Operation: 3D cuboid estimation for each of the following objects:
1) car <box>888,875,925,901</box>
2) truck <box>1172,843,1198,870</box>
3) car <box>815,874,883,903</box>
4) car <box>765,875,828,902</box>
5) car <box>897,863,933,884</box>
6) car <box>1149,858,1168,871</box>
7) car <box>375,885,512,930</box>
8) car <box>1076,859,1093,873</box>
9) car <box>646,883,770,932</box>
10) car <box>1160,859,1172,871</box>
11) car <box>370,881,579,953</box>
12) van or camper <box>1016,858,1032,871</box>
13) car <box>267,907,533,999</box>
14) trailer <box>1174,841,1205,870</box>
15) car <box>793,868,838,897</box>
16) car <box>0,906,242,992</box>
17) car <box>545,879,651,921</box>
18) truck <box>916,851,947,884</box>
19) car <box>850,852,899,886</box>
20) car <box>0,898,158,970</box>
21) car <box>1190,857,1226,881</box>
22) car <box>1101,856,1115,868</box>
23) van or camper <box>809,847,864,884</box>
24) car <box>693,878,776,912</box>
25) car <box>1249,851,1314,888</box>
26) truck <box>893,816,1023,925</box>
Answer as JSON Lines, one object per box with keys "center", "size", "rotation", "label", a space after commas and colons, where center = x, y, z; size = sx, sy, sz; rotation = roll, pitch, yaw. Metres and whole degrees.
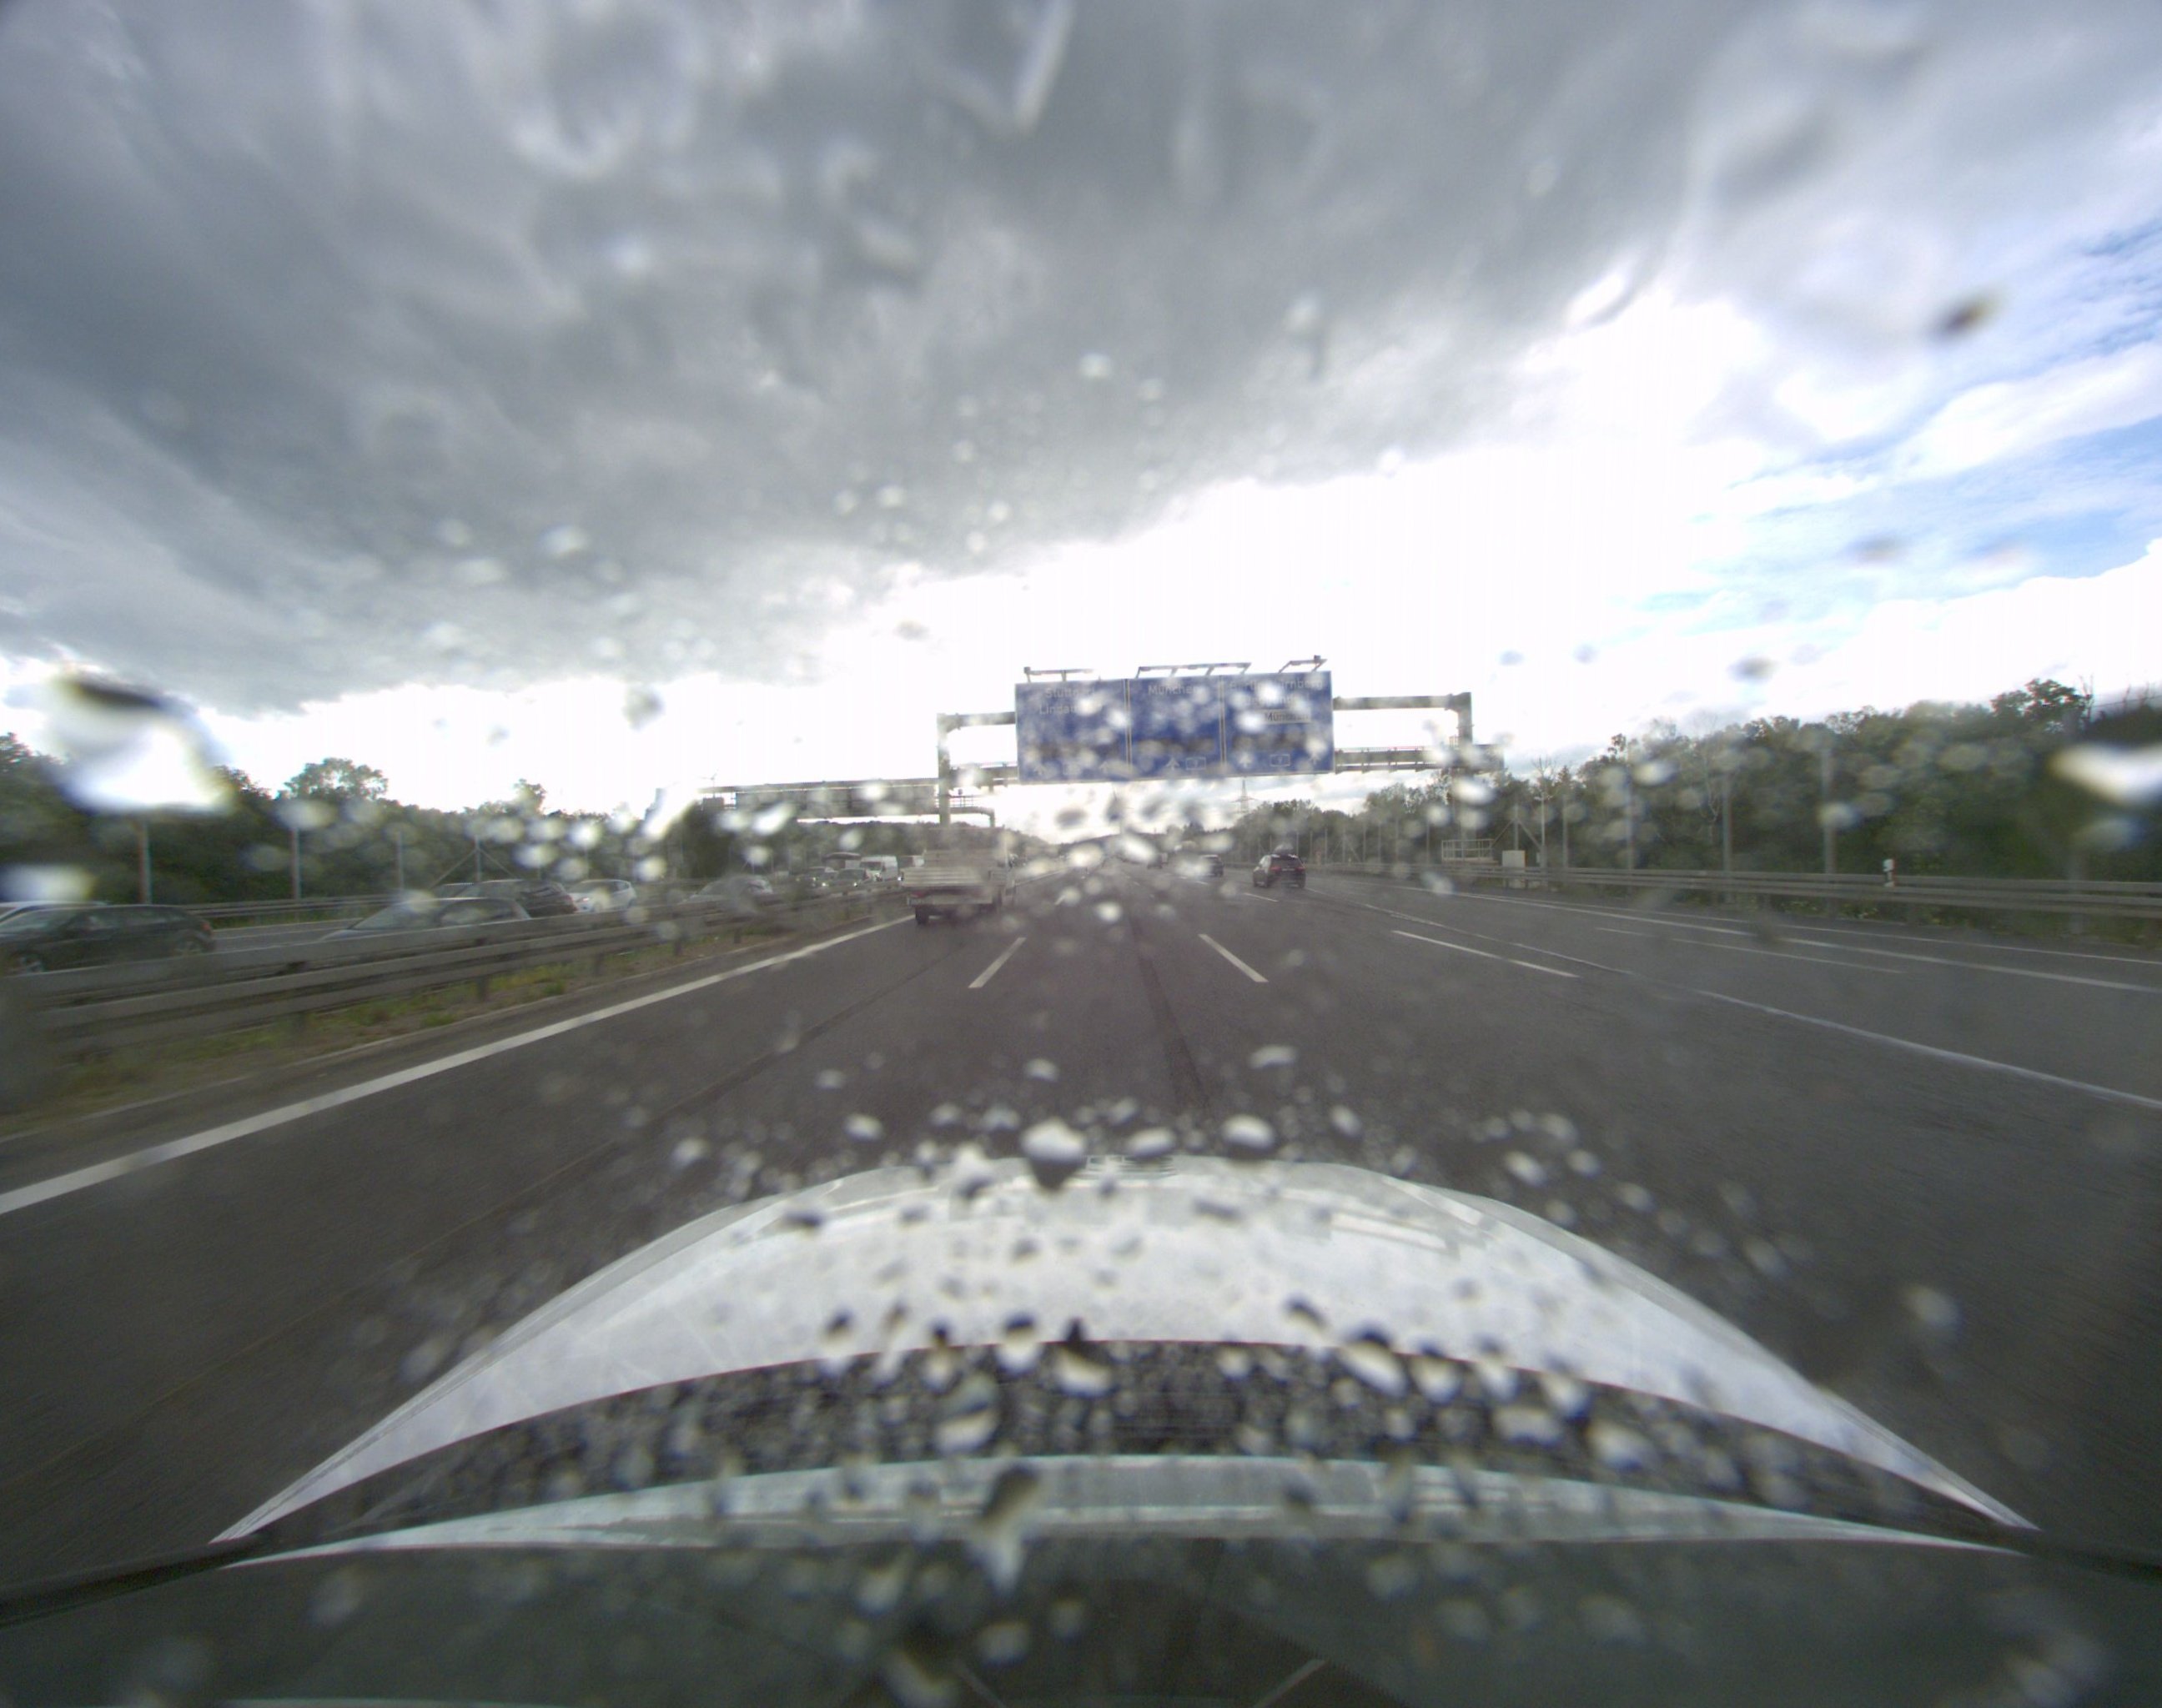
{"center": [-18.830, 3.651, 88.508], "size": [2.263, 2.546, 7.359], "rotation": [-2, 0, 1], "label": "car"}
{"center": [16.163, 0.470, 126.826], "size": [3.320, 4.080, 8.274], "rotation": [0, -1, 2], "label": "truck"}
{"center": [-12.464, 1.818, 44.106], "size": [2.072, 1.357, 5.257], "rotation": [-2, 0, 1], "label": "car"}
{"center": [-16.685, 1.978, 48.040], "size": [1.792, 1.357, 5.129], "rotation": [-2, 0, 1], "label": "car"}
{"center": [-12.210, 1.428, 60.167], "size": [1.698, 1.391, 4.504], "rotation": [-2, 0, -1], "label": "car"}
{"center": [10.483, 1.466, 110.702], "size": [2.092, 1.699, 3.997], "rotation": [-1, -1, -2], "label": "car"}
{"center": [-24.323, 2.003, 31.292], "size": [1.756, 1.426, 4.342], "rotation": [-2, 0, 1], "label": "car"}
{"center": [0.442, 1.469, 101.003], "size": [2.038, 1.699, 4.001], "rotation": [-1, -1, 1], "label": "car"}
{"center": [-12.583, 1.756, 27.875], "size": [1.883, 1.340, 4.945], "rotation": [-2, 0, 1], "label": "car"}
{"center": [17.417, 2.218, 167.074], "size": [2.038, 2.498, 4.001], "rotation": [-1, -1, 1], "label": "car"}
{"center": [-16.530, 1.643, 22.652], "size": [1.875, 1.598, 5.136], "rotation": [-2, 0, 1], "label": "car"}
{"center": [-9.285, 1.723, 133.192], "size": [2.087, 2.186, 4.973], "rotation": [-1, -1, 2], "label": "van or camper"}
{"center": [-13.212, 1.855, 16.201], "size": [1.697, 1.289, 4.187], "rotation": [-2, 0, 1], "label": "car"}
{"center": [15.982, 0.304, 120.886], "size": [3.320, 4.176, 11.842], "rotation": [0, -1, 2], "label": "trailer"}
{"center": [-19.919, 2.080, 61.264], "size": [1.987, 2.014, 4.000], "rotation": [-2, 0, 1], "label": "car"}
{"center": [-19.874, 1.831, 16.172], "size": [1.577, 1.282, 4.603], "rotation": [-2, 0, 1], "label": "car"}
{"center": [-19.721, 1.834, 33.477], "size": [1.615, 1.447, 4.417], "rotation": [-2, 0, 1], "label": "car"}
{"center": [-22.733, 1.976, 124.536], "size": [3.136, 4.857, 8.026], "rotation": [-1, -1, 0], "label": "truck"}
{"center": [-16.404, 1.169, 65.008], "size": [2.195, 2.488, 6.066], "rotation": [-2, 0, 1], "label": "car"}
{"center": [-24.424, 1.849, 18.814], "size": [1.577, 1.426, 4.003], "rotation": [-2, 0, 1], "label": "car"}
{"center": [9.779, 1.140, 63.133], "size": [2.038, 1.699, 5.007], "rotation": [-1, -1, 1], "label": "car"}
{"center": [4.167, 1.244, 124.694], "size": [2.037, 1.699, 4.002], "rotation": [-1, -1, 2], "label": "car"}
{"center": [-19.871, 0.896, 66.575], "size": [2.575, 2.847, 6.211], "rotation": [-2, 0, -1], "label": "van or camper"}
{"center": [-16.325, 1.889, 38.658], "size": [1.883, 1.340, 4.564], "rotation": [-2, 0, 1], "label": "car"}
{"center": [9.451, 0.747, 38.870], "size": [2.096, 1.606, 5.069], "rotation": [-1, -1, 3], "label": "car"}
{"center": [-2.984, 0.398, 21.771], "size": [2.345, 2.408, 7.356], "rotation": [0, -1, 0], "label": "truck"}
